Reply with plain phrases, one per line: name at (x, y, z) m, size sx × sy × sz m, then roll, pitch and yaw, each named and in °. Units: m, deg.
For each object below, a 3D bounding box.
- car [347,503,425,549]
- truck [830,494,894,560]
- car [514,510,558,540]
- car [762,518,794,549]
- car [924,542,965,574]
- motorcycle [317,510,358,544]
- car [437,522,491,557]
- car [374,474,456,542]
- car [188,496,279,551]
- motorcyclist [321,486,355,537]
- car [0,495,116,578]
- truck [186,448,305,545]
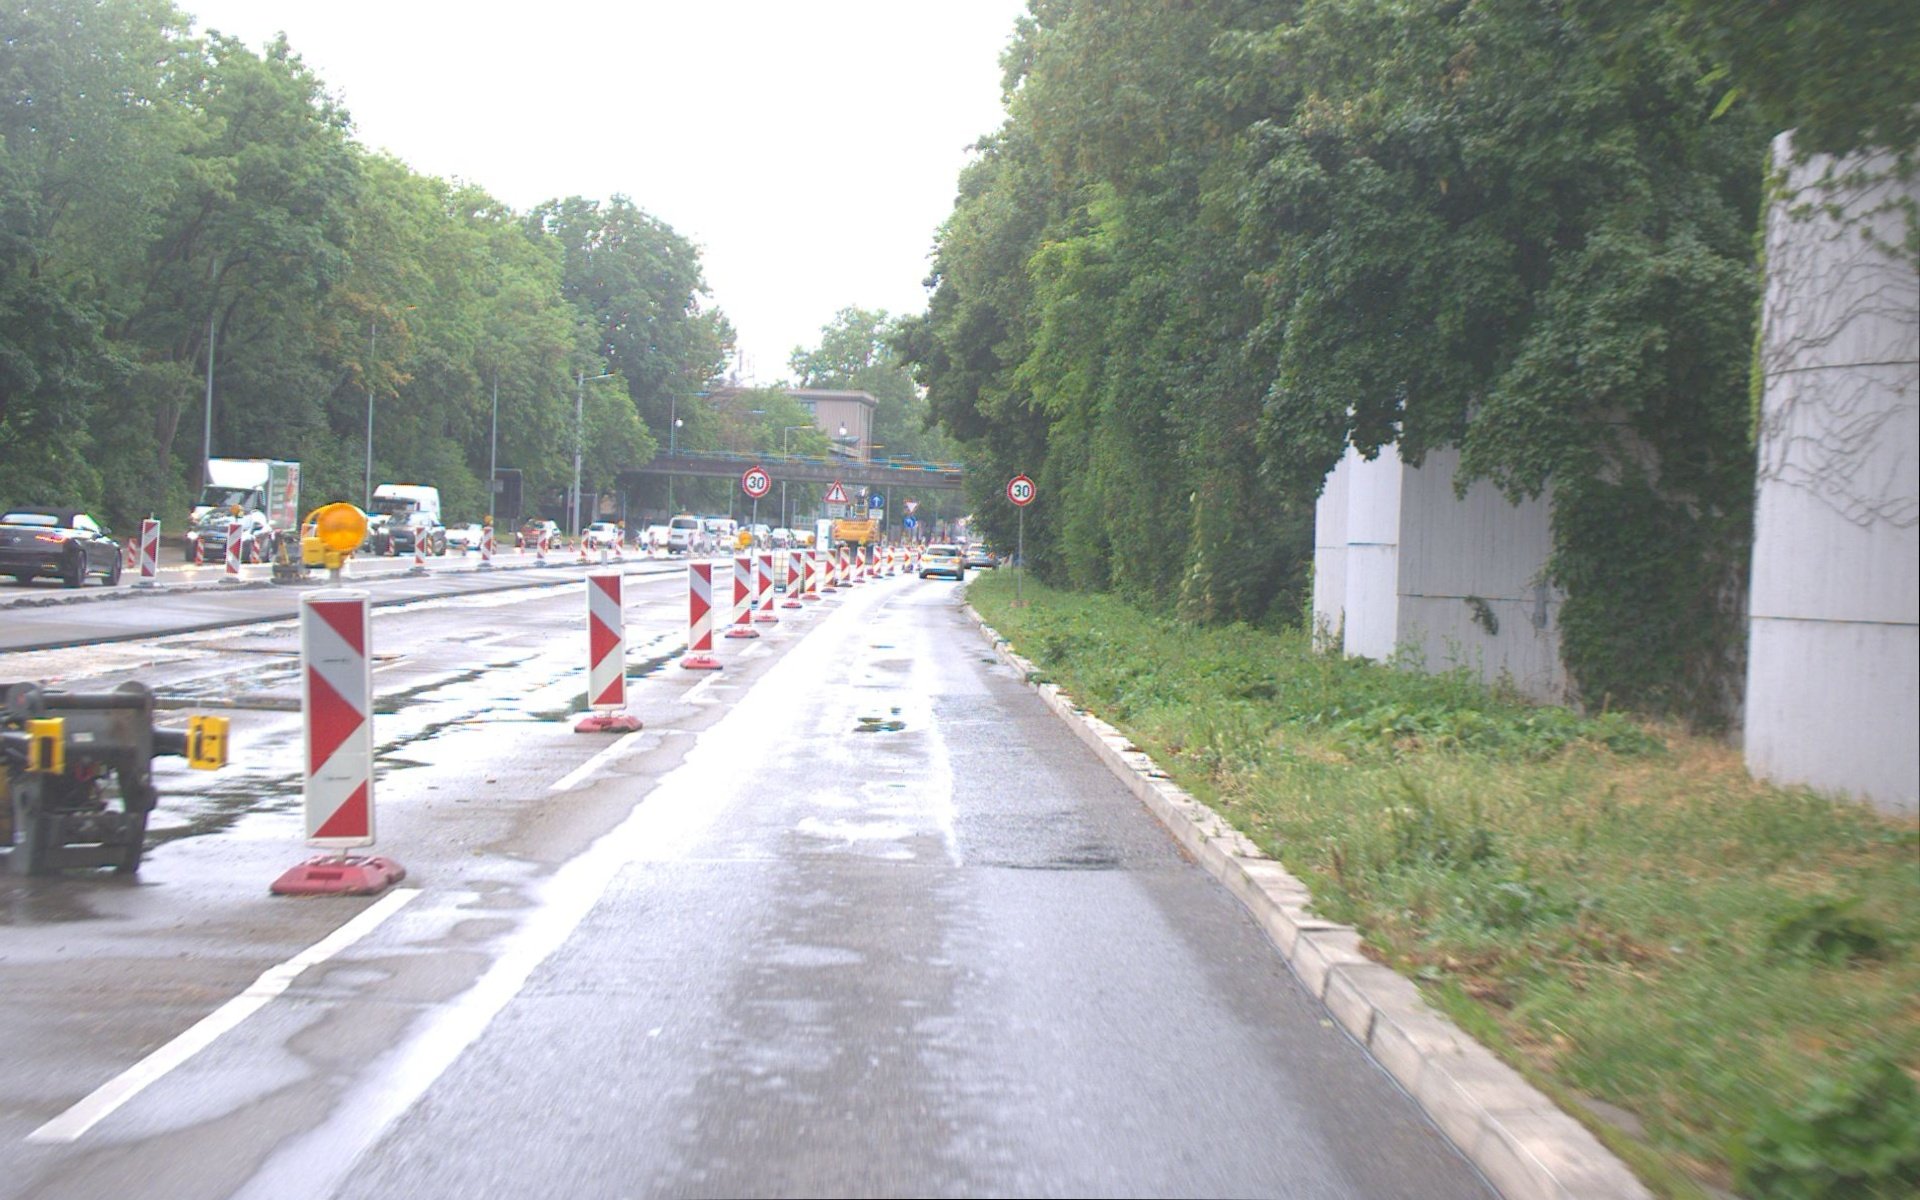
car at (-20.476, -2.637, 122.792) m, size 1.960 × 1.526 × 4.437 m, roll 2°, pitch 1°, yaw 0°
truck at (-5.424, -4.123, 193.148) m, size 3.259 × 3.485 × 13.871 m, roll 2°, pitch 1°, yaw -1°
car at (-21.418, -3.792, 173.764) m, size 1.670 × 1.480 × 4.320 m, roll 2°, pitch 1°, yaw 0°
car at (-11.371, -4.185, 215.271) m, size 1.670 × 1.802 × 4.321 m, roll 2°, pitch 2°, yaw 0°
car at (-0.659, -1.787, 144.373) m, size 1.697 × 1.331 × 3.491 m, roll 0°, pitch 1°, yaw 0°
motorcycle at (-19.529, -2.301, 107.869) m, size 0.828 × 1.011 × 2.367 m, roll 3°, pitch 1°, yaw -1°
car at (-21.836, -2.670, 151.405) m, size 1.670 × 1.480 × 4.320 m, roll 2°, pitch 1°, yaw 0°
car at (-21.730, -3.650, 137.347) m, size 2.099 × 2.571 × 6.854 m, roll 2°, pitch 1°, yaw 0°
car at (-19.920, -2.110, 94.402) m, size 1.670 × 1.411 × 4.321 m, roll 2°, pitch 1°, yaw -2°
motorcyclist at (-19.508, -2.775, 107.866) m, size 0.828 × 1.559 × 0.927 m, roll 3°, pitch 1°, yaw -1°
car at (-16.430, -1.151, 61.805) m, size 1.607 × 1.399 × 4.041 m, roll 2°, pitch 1°, yaw -2°
truck at (-22.796, -3.294, 109.974) m, size 2.246 × 2.930 × 6.935 m, roll 2°, pitch 1°, yaw 0°
